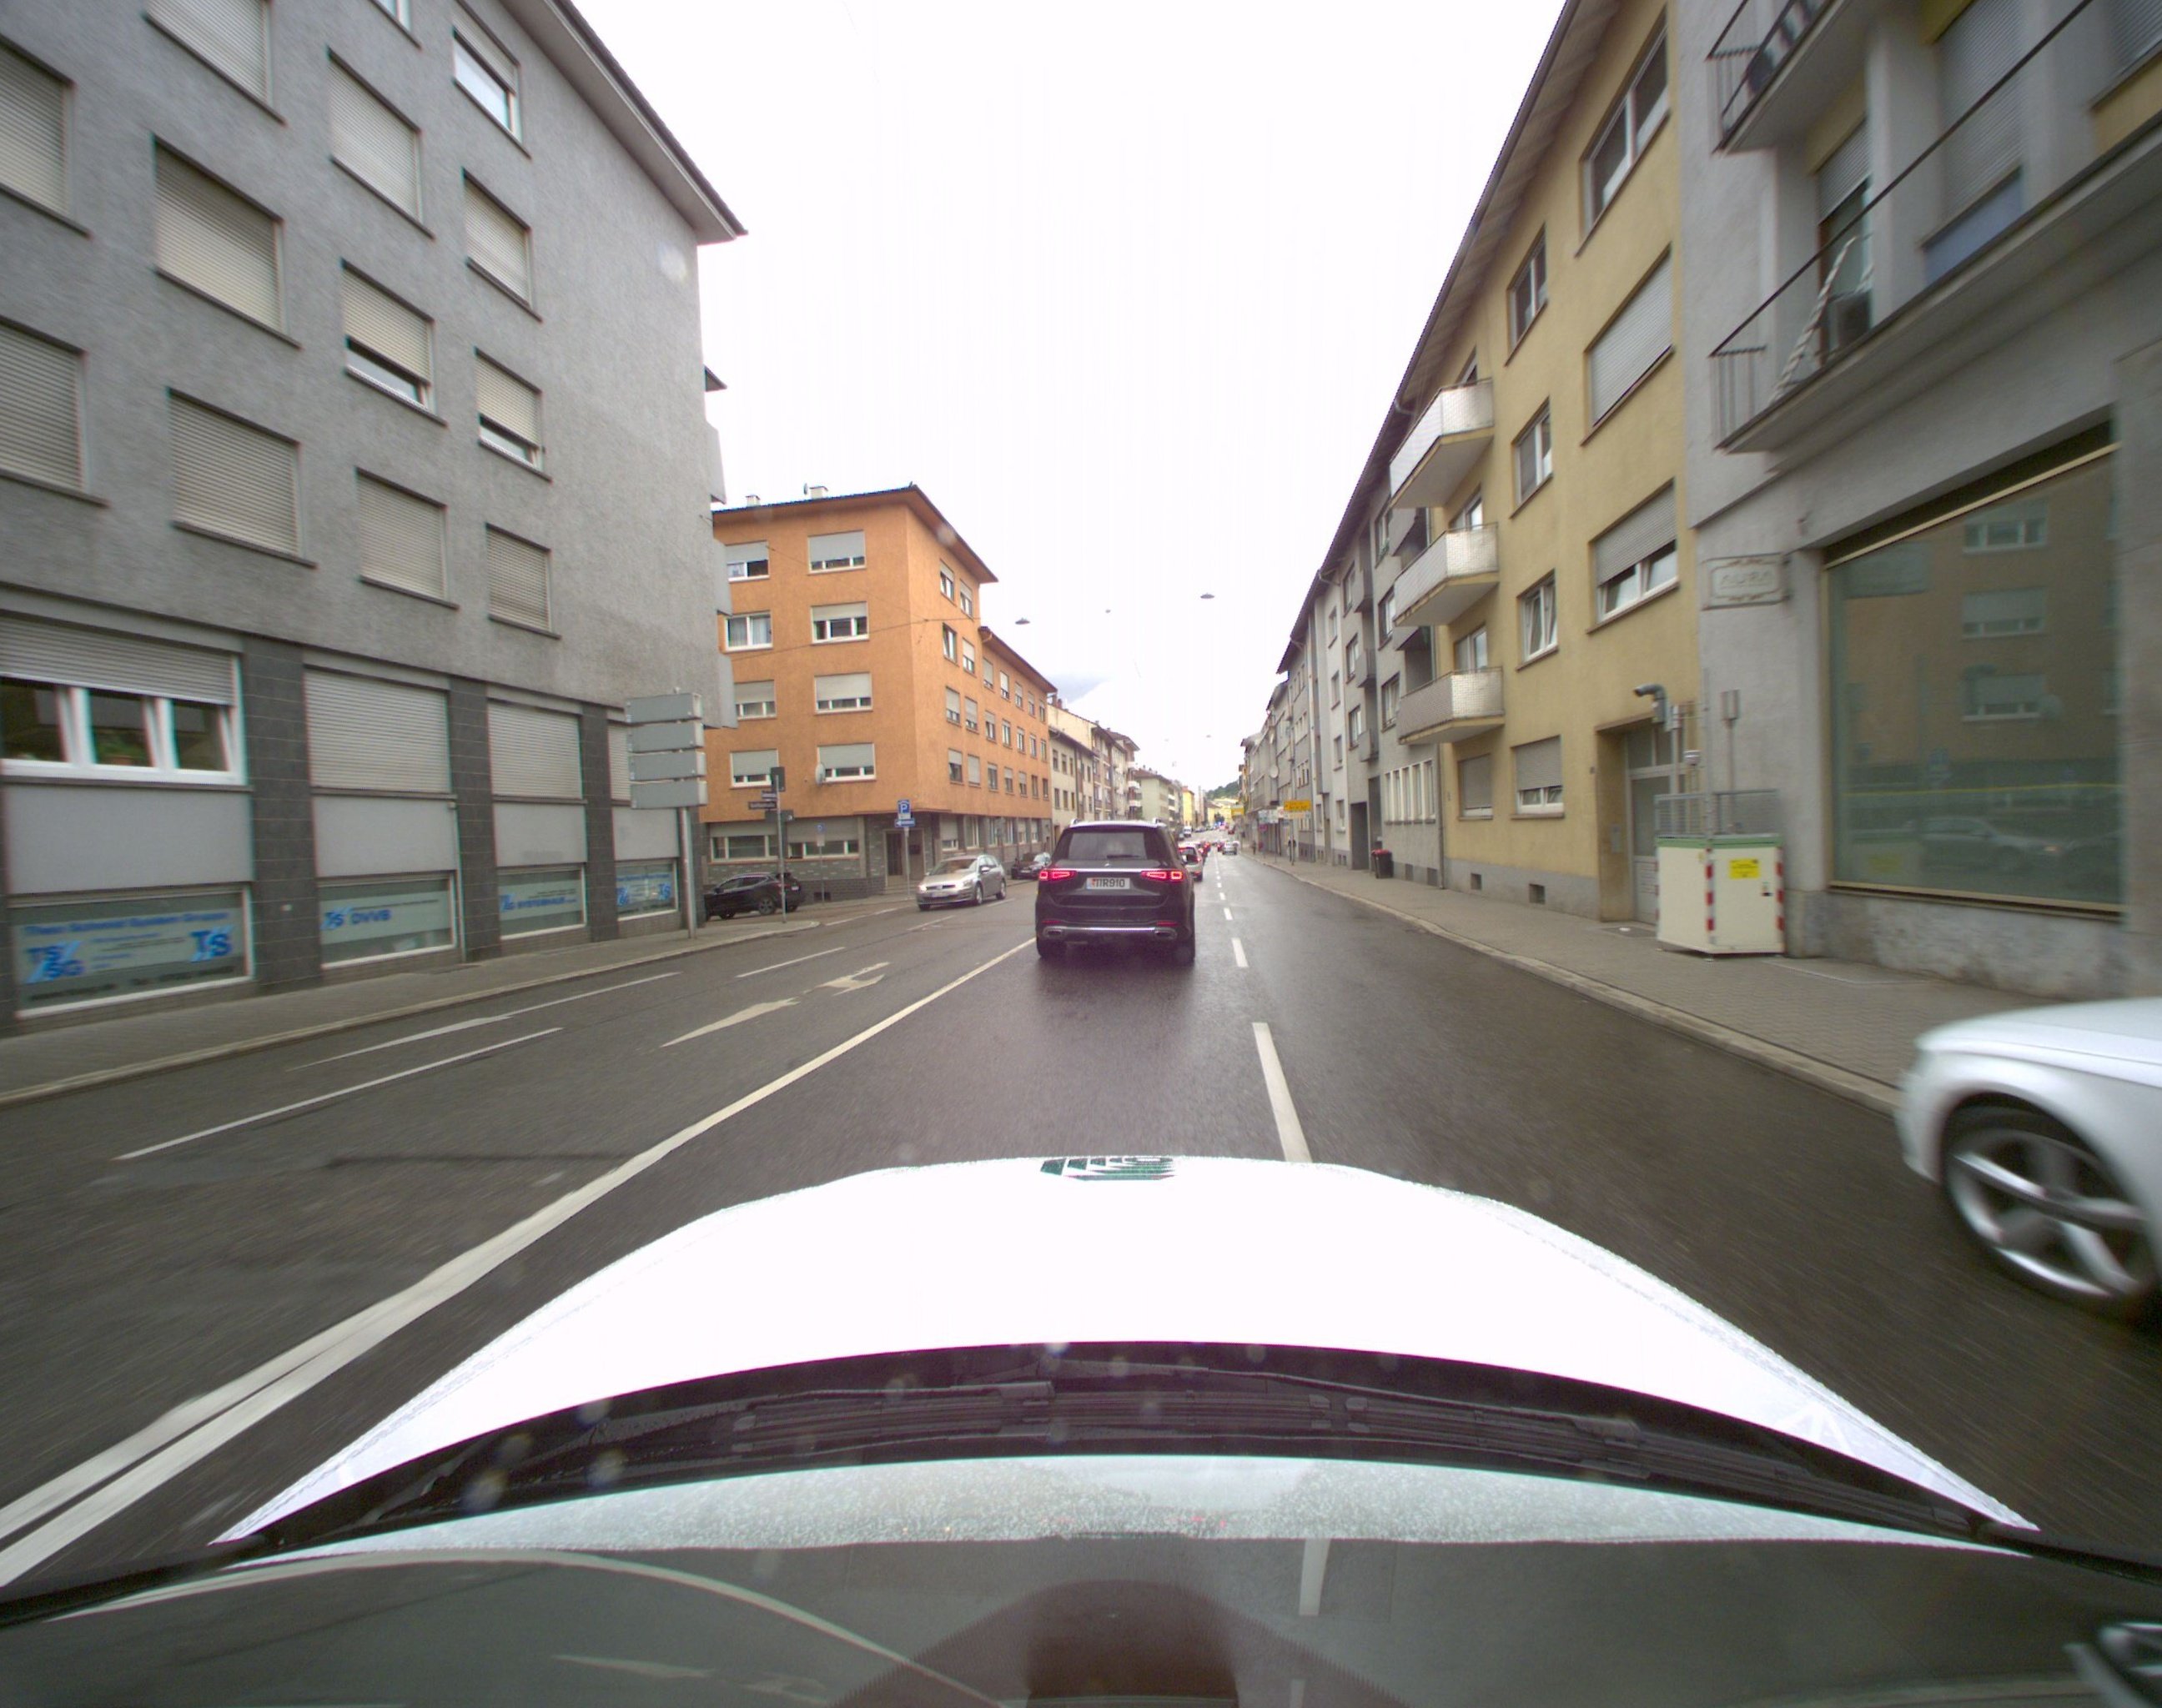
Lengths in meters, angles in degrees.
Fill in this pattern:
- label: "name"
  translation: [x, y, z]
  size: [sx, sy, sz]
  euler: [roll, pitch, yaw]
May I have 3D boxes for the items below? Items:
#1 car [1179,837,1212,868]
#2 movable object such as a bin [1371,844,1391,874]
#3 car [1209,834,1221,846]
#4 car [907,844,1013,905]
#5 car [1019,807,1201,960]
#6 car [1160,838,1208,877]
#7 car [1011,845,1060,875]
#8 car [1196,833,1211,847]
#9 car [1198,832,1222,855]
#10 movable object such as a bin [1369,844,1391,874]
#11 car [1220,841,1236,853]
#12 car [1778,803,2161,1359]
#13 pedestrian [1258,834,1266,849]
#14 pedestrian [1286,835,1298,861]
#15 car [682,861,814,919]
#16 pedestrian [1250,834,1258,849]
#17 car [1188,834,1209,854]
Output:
- label: "car"
  translation: [7.932, -0.111, 56.289]
  size: [1.981, 2.013, 4.013]
  euler: [-1, 1, 11]
- label: "movable object such as a bin"
  translation: [10.096, 0.164, 27.433]
  size: [0.470, 0.962, 0.566]
  euler: [-6, 0, 10]
- label: "car"
  translation: [23.876, -2.500, 145.349]
  size: [1.981, 2.013, 4.013]
  euler: [-1, 1, 11]
- label: "car"
  translation: [-3.466, 0.539, 24.227]
  size: [1.816, 1.416, 4.305]
  euler: [-6, 1, 8]
- label: "car"
  translation: [0.663, 0.295, 11.797]
  size: [2.064, 1.765, 4.623]
  euler: [-1, 1, 9]
- label: "car"
  translation: [4.278, 0.103, 34.019]
  size: [1.883, 1.510, 4.182]
  euler: [0, 1, 7]
- label: "car"
  translation: [-2.435, 0.285, 44.830]
  size: [1.881, 1.458, 4.559]
  euler: [-1, 1, 7]
- label: "car"
  translation: [17.925, -2.090, 118.935]
  size: [1.981, 2.013, 4.013]
  euler: [-1, 1, 11]
- label: "car"
  translation: [11.677, -0.941, 73.467]
  size: [1.981, 2.013, 4.013]
  euler: [-1, 1, 11]
- label: "movable object such as a bin"
  translation: [10.250, 0.158, 27.959]
  size: [0.559, 0.962, 0.476]
  euler: [-6, 0, 11]
- label: "car"
  translation: [17.809, -0.838, 98.649]
  size: [1.725, 1.388, 4.593]
  euler: [-1, 1, 8]
- label: "car"
  translation: [3.707, 0.610, 1.070]
  size: [1.883, 1.402, 4.618]
  euler: [-7, 0, 7]
- label: "pedestrian"
  translation: [19.336, -1.377, 87.099]
  size: [0.815, 1.565, 0.903]
  euler: [-1, 1, 12]
- label: "pedestrian"
  translation: [14.241, -0.410, 55.008]
  size: [0.651, 1.752, 0.744]
  euler: [-4, 0, 14]
- label: "car"
  translation: [-12.395, 1.333, 30.450]
  size: [3.964, 1.652, 1.935]
  euler: [-6, 0, 9]
- label: "pedestrian"
  translation: [18.498, -1.330, 87.273]
  size: [0.815, 1.565, 0.903]
  euler: [-1, 1, 12]
- label: "car"
  translation: [12.564, -1.083, 87.166]
  size: [1.981, 2.013, 4.013]
  euler: [-1, 1, 11]
